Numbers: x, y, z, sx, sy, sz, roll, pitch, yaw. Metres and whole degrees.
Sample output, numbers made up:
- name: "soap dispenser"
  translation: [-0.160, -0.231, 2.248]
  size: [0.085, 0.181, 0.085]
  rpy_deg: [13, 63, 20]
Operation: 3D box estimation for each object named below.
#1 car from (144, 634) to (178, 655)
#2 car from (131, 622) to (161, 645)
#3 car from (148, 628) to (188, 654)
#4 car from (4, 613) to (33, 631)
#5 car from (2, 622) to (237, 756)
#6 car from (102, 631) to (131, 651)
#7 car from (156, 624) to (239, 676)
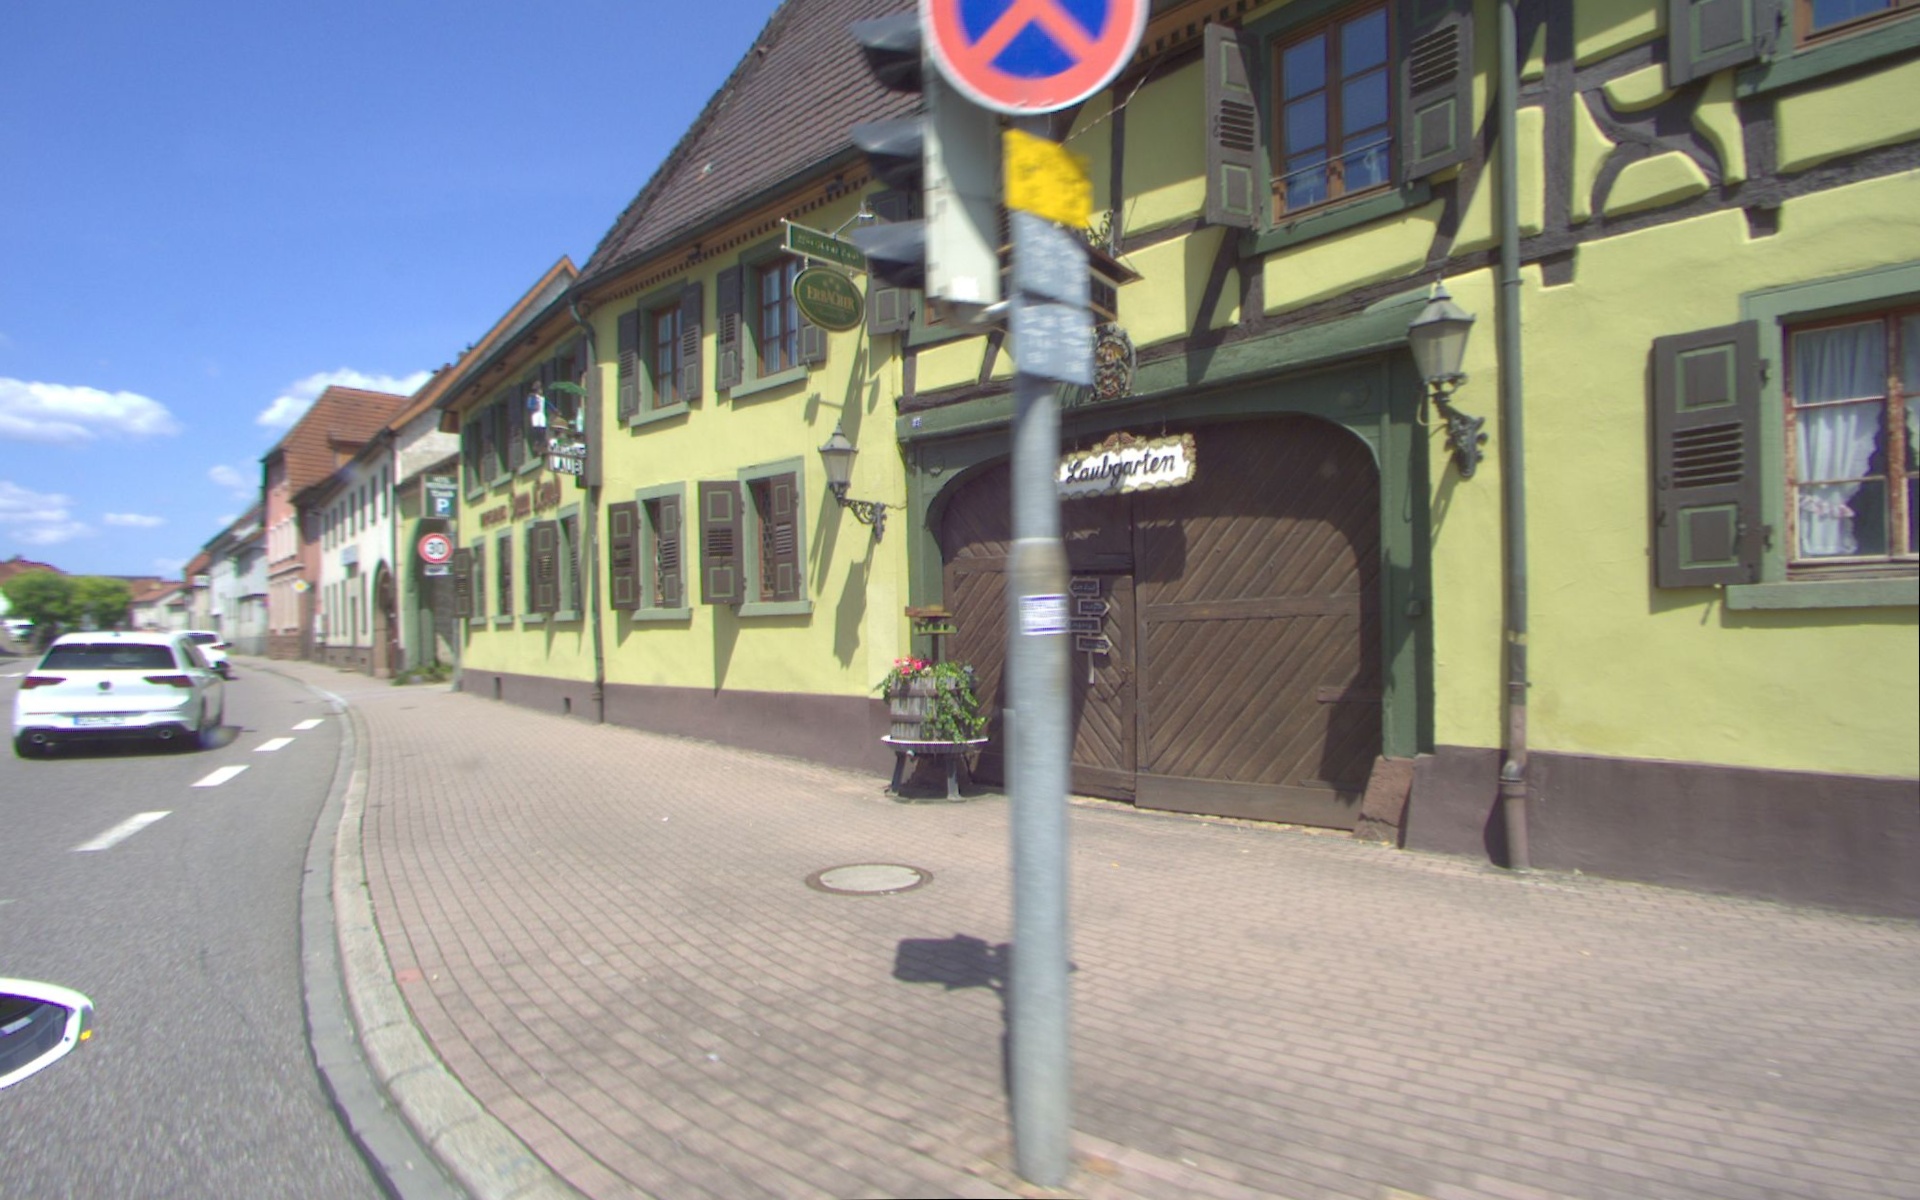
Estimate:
- name: "car"
  translation: [-57.412, 3.193, 71.956]
  size: [1.769, 1.477, 3.831]
  rpy_deg: [1, -2, -41]
- name: "car"
  translation: [-66.435, 2.764, 81.714]
  size: [1.769, 1.863, 3.831]
  rpy_deg: [1, -2, -41]
- name: "car"
  translation: [-46.560, 2.399, 58.822]
  size: [1.769, 1.477, 3.832]
  rpy_deg: [1, -2, -39]
- name: "car"
  translation: [-93.264, 2.190, 99.235]
  size: [1.980, 1.738, 3.964]
  rpy_deg: [3, -3, -42]
- name: "car"
  translation: [-10.824, 1.059, 13.191]
  size: [1.764, 1.477, 3.843]
  rpy_deg: [1, -2, -31]
- name: "car"
  translation: [-87.557, 4.247, 103.951]
  size: [1.976, 2.039, 3.972]
  rpy_deg: [2, -3, -37]
- name: "car"
  translation: [-22.992, 1.483, 30.314]
  size: [1.765, 1.477, 3.839]
  rpy_deg: [1, -2, -34]
